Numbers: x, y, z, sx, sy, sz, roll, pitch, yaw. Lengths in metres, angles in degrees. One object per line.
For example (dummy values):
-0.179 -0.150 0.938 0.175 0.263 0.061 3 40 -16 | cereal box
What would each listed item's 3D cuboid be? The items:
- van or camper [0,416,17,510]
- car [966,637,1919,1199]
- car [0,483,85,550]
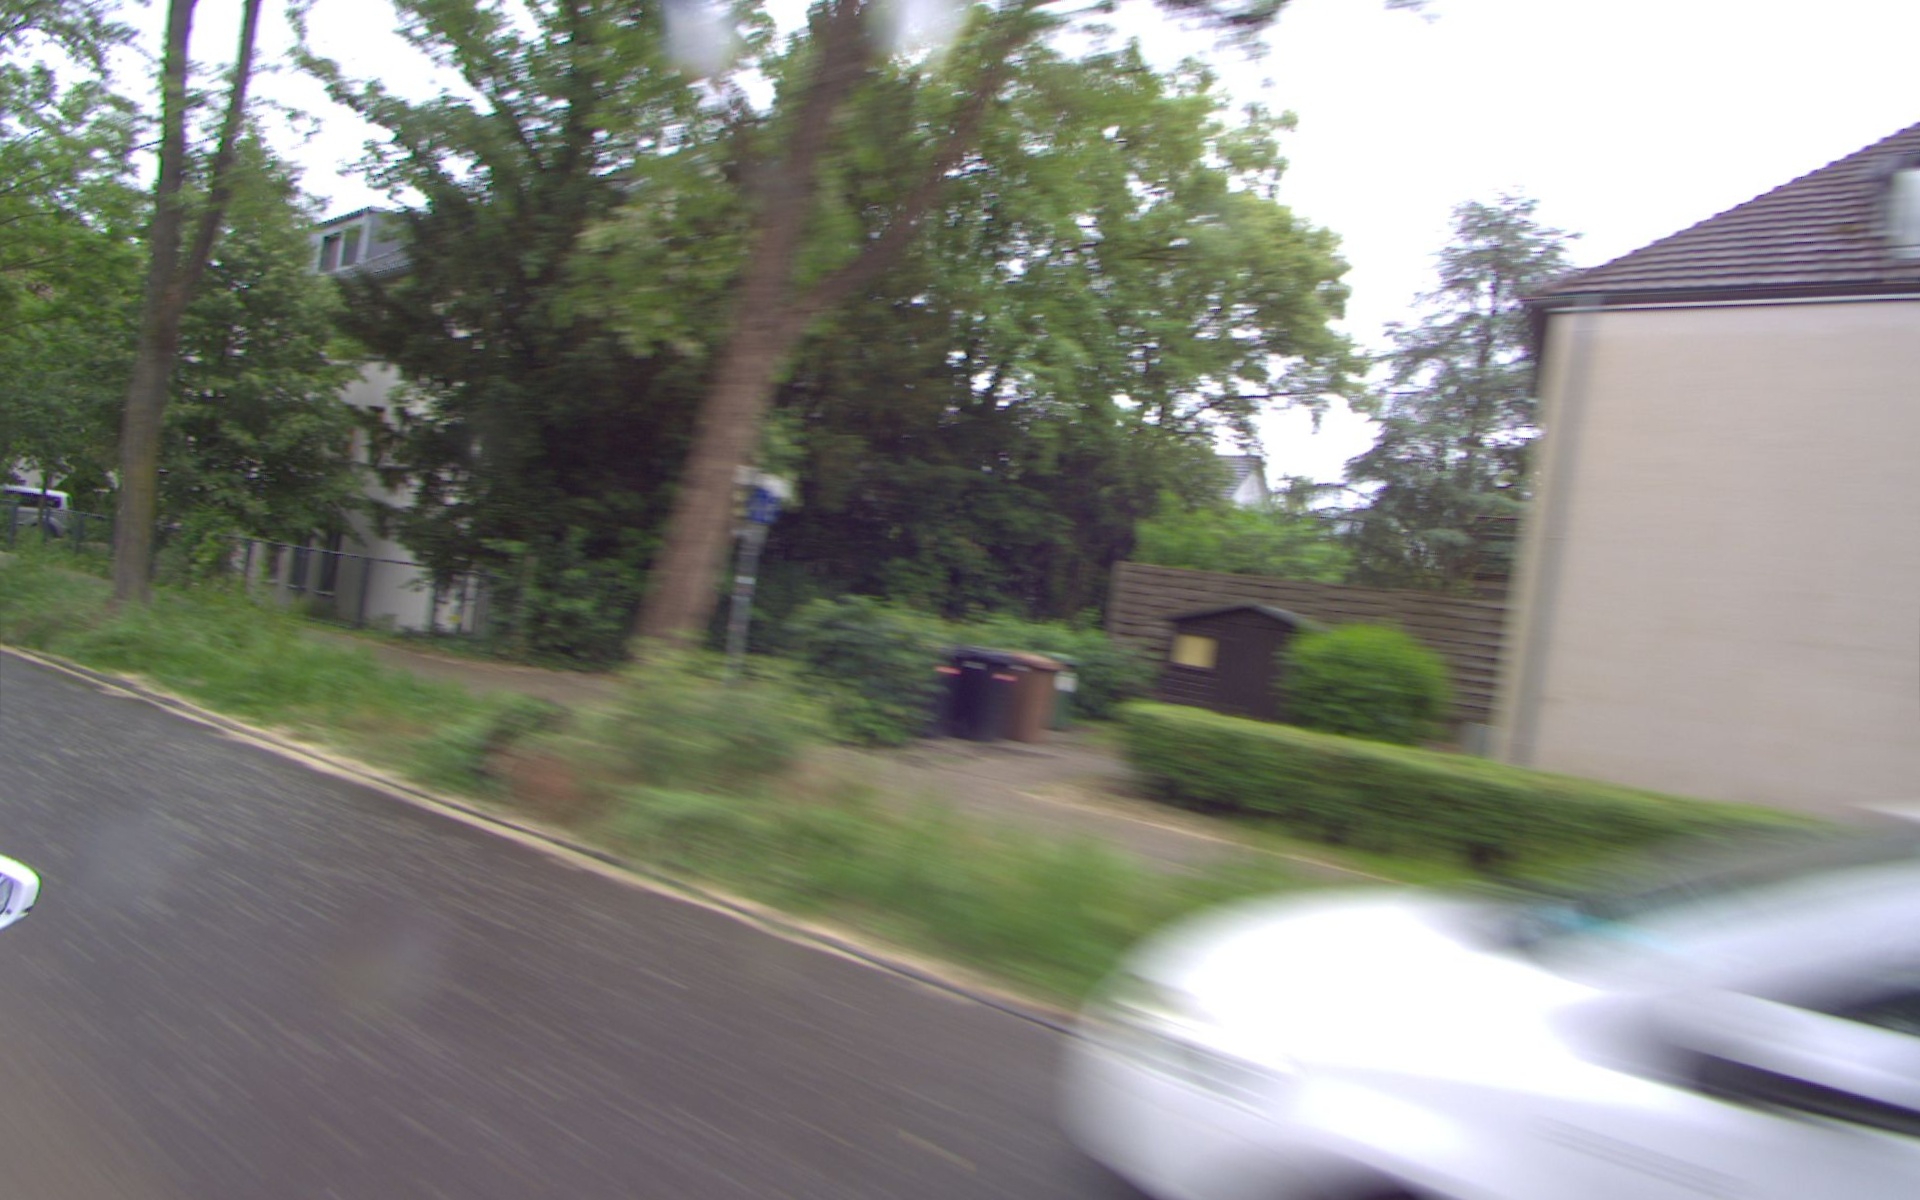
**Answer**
-13.843 -1.245 12.066 5.545 2.506 2.043 7 -3 32 | van or camper
2.045 1.099 1.964 3.703 1.488 1.575 7 -3 32 | car
-32.206 -2.977 33.489 1.849 1.838 4.301 7 -3 42 | car
